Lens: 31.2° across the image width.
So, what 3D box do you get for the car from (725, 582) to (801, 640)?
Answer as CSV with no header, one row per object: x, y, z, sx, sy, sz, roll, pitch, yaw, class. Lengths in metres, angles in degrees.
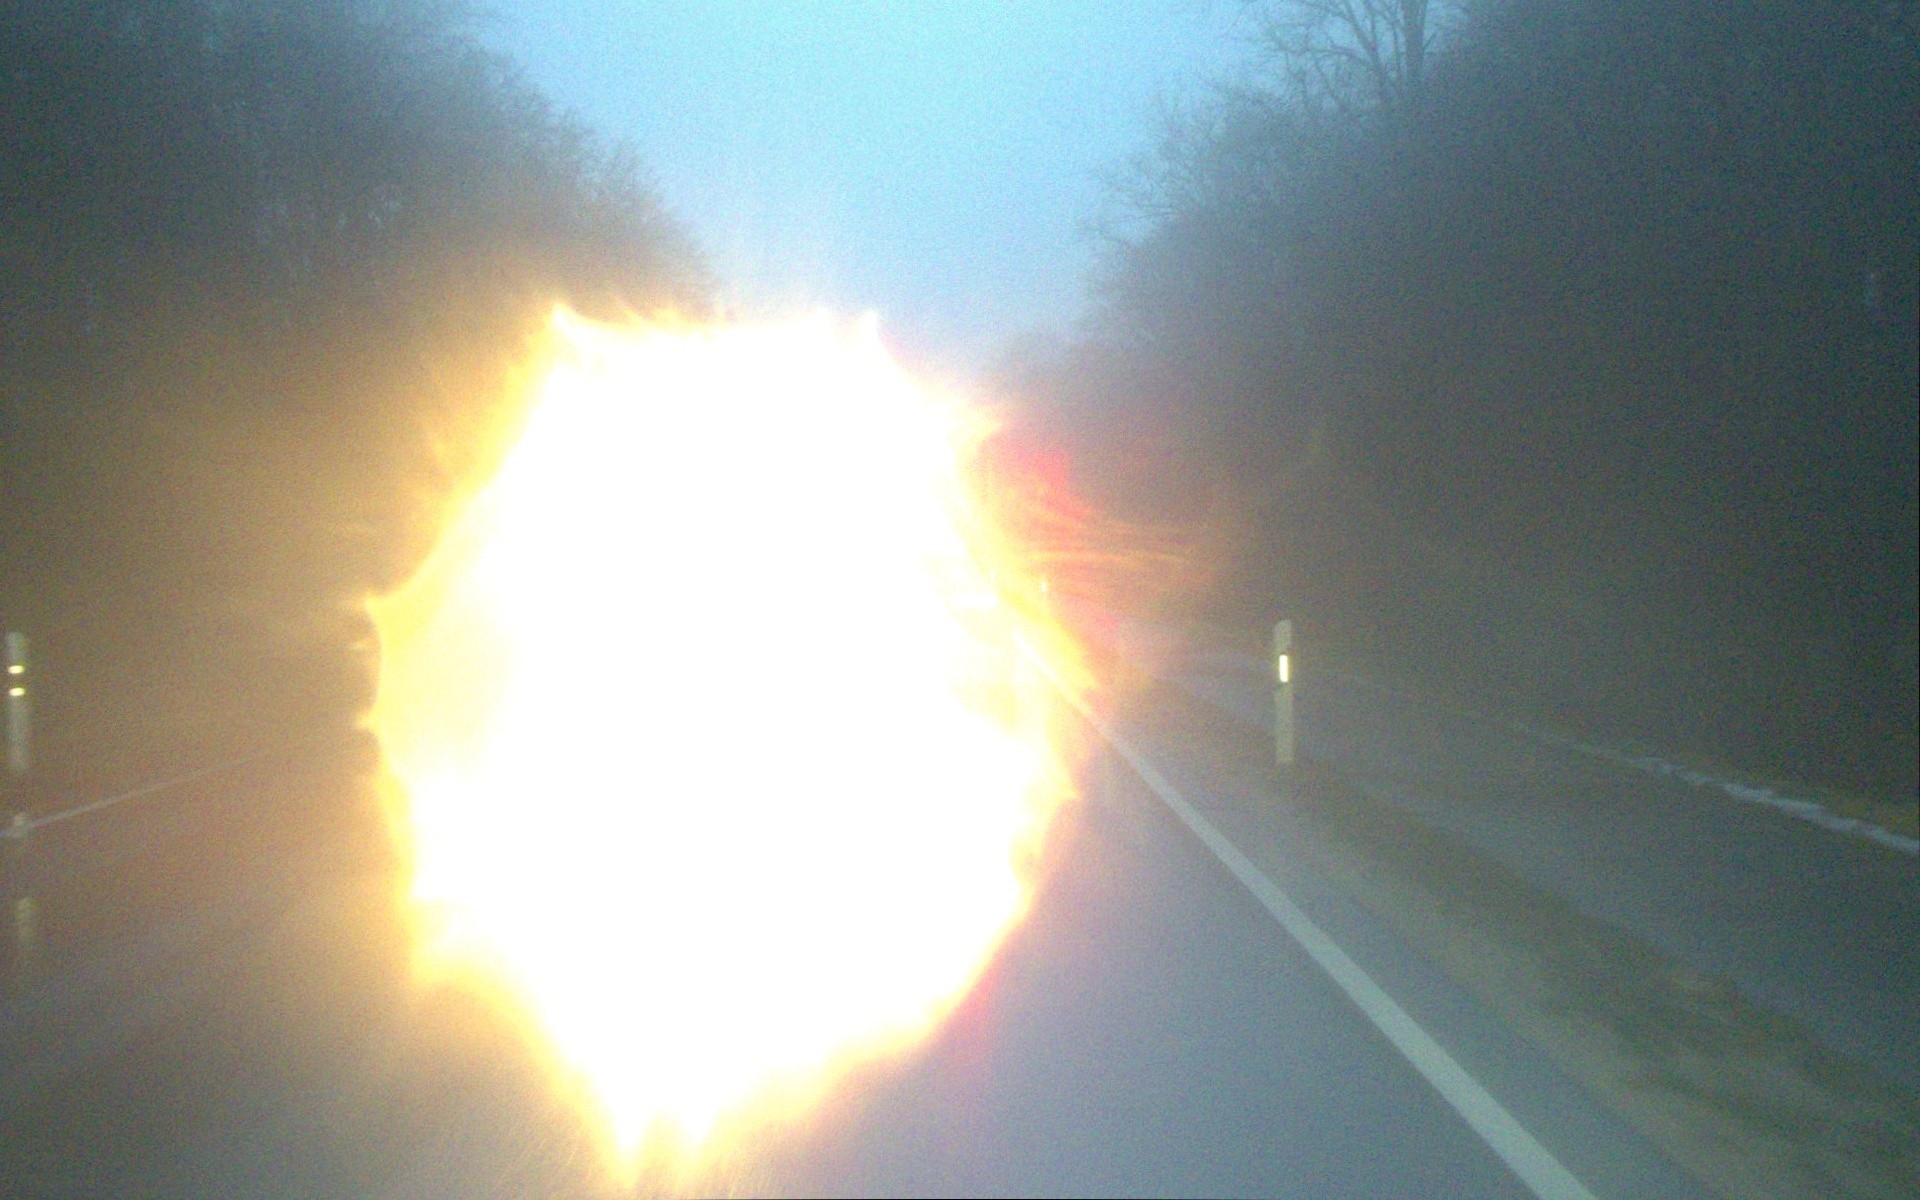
-4.819,0.253,84.614,1.703,1.358,4.376,0,0,-1,car

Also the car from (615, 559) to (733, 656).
-4.397,0.088,53.236,1.513,1.409,3.661,-1,1,0,car
